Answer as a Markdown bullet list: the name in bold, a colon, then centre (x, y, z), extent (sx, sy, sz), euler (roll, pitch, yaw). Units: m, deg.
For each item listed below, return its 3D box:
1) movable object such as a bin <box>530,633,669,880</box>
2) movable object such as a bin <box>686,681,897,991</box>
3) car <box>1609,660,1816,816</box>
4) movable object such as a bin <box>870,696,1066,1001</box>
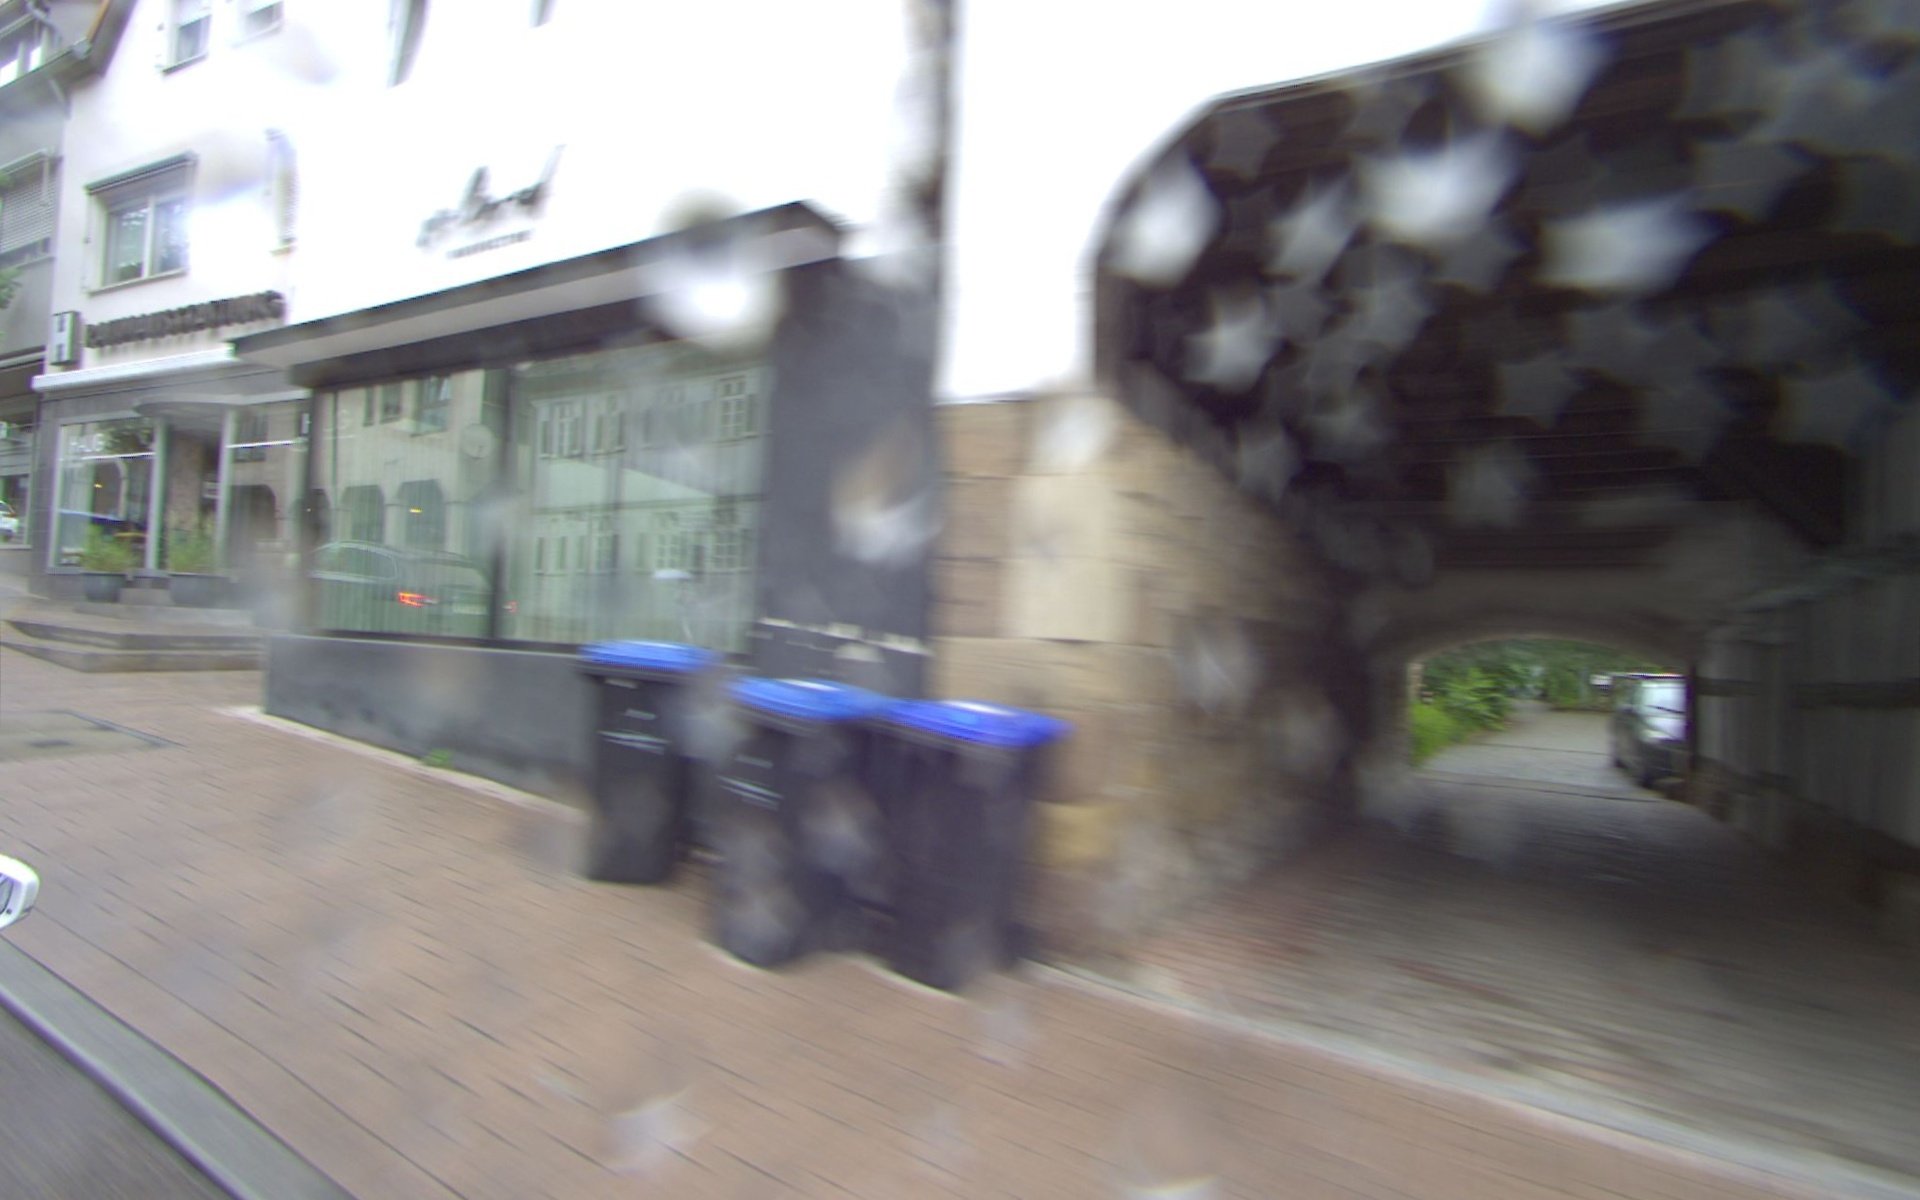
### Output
- **movable object such as a bin**: centre (-1.679, 0.714, 4.748), extent (0.461, 1.042, 0.569), euler (5, 2, -11)
- **movable object such as a bin**: centre (-0.654, 0.880, 3.980), extent (0.468, 1.042, 0.595), euler (7, 2, 30)
- **car**: centre (10.869, 1.890, 14.827), extent (1.796, 1.749, 3.992), euler (6, 0, 30)
- **movable object such as a bin**: centre (0.045, 0.950, 4.070), extent (0.468, 1.042, 0.595), euler (7, 2, 30)
